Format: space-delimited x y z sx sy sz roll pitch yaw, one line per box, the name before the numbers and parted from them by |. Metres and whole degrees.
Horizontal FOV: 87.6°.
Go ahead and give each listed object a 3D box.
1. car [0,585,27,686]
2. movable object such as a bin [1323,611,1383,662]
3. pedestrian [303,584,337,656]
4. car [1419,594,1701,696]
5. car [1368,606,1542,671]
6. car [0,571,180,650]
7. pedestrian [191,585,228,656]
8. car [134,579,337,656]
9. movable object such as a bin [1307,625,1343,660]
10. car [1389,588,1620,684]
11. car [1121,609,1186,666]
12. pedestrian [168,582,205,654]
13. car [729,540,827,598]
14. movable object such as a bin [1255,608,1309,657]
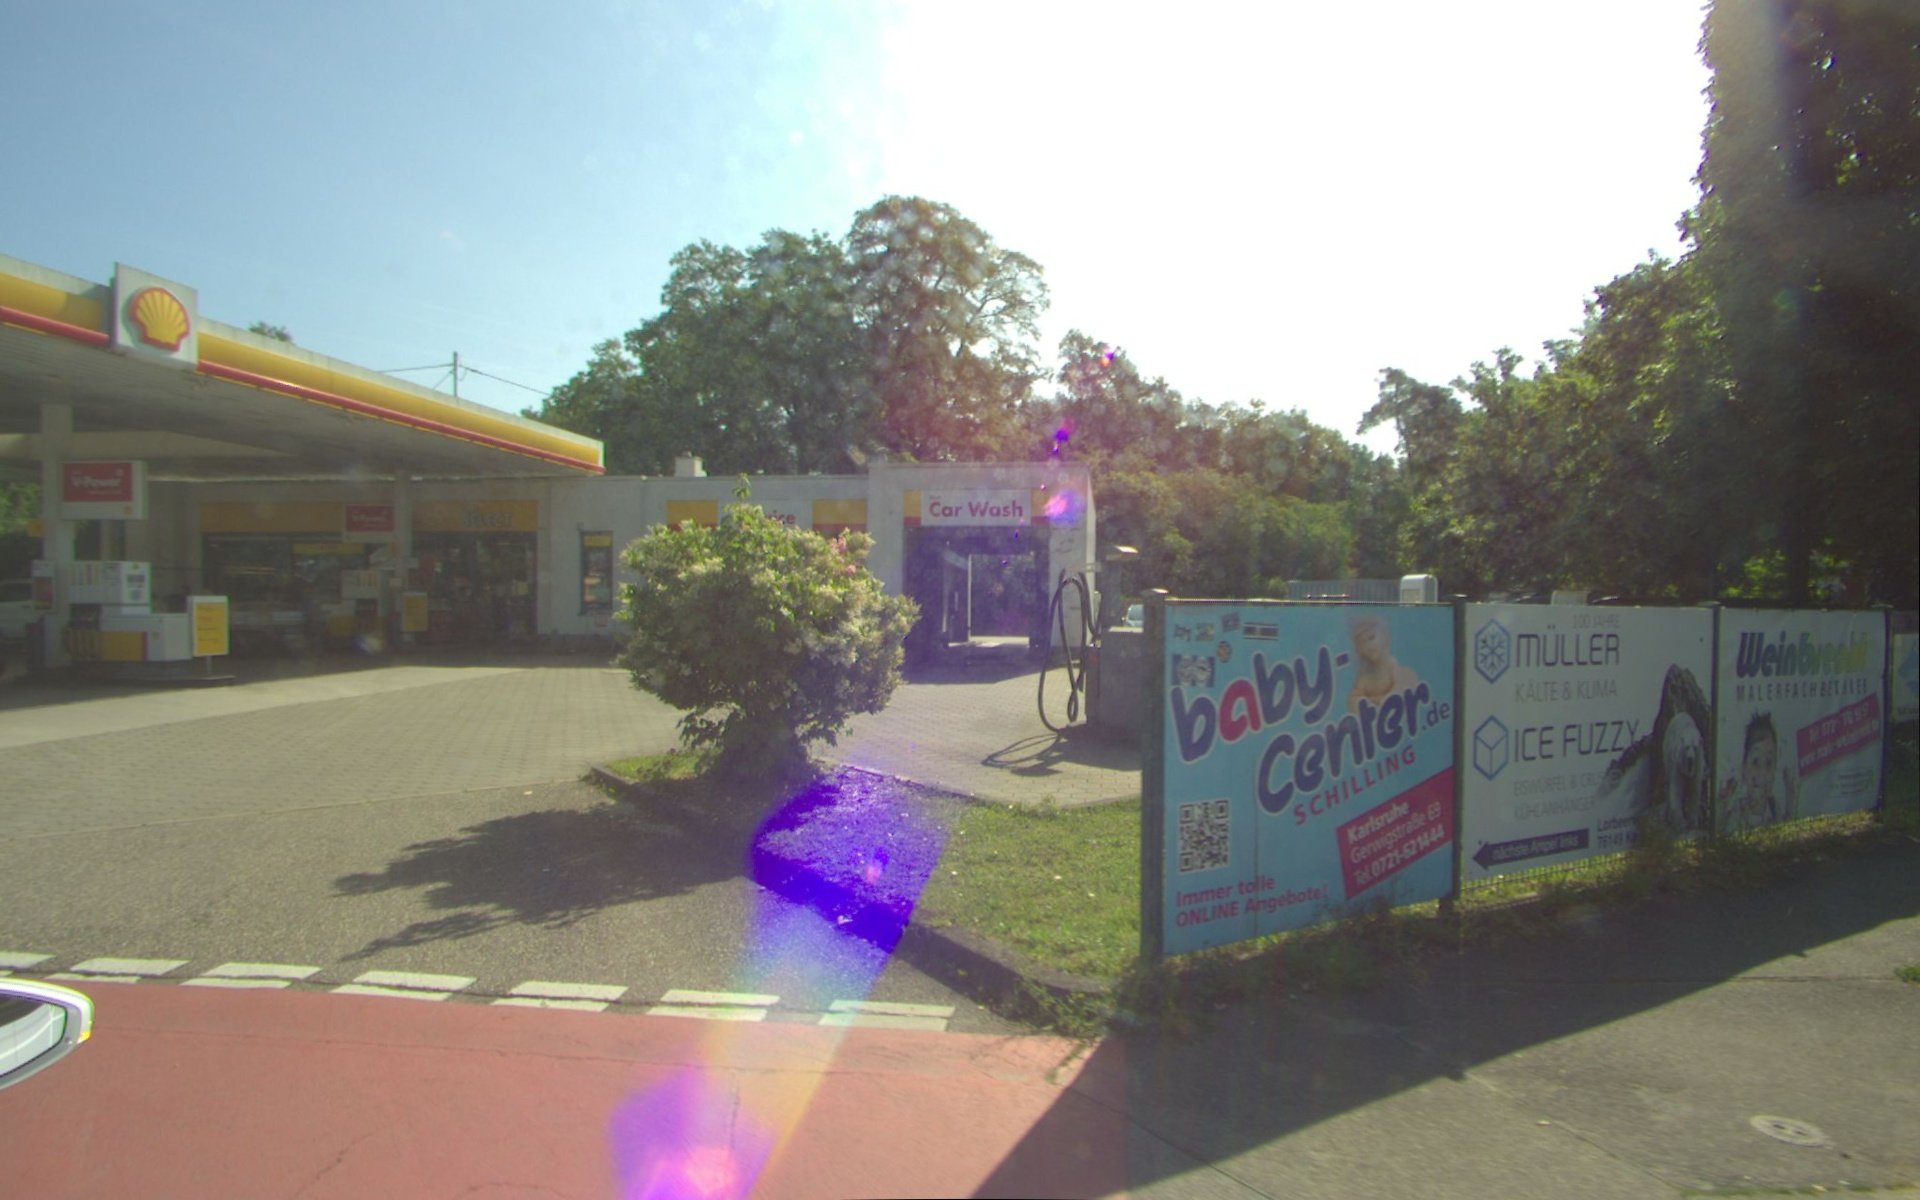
car | -17.111 0.546 15.581 3.803 1.599 1.764 1 0 7
movable object such as a bin | 10.529 0.967 26.832 0.853 1.307 1.229 0 1 -29
pedestrian | -15.352 0.474 24.016 0.491 1.691 0.475 1 1 10
car | 10.354 0.746 17.539 3.863 1.650 1.683 1 0 7
car | 12.029 0.900 24.538 3.443 1.458 1.682 0 2 10
car | -22.449 0.245 25.058 4.688 1.862 1.856 1 0 8
pedestrian | -17.209 0.471 22.975 0.467 1.614 0.500 1 1 13
car | -17.459 0.406 24.190 3.925 1.751 1.832 0 0 13
movable object such as a bin | 10.073 1.165 27.645 0.854 0.922 0.491 0 1 -30
car | 11.304 0.743 21.013 3.864 1.817 1.683 -2 0 7
car | 5.730 1.102 29.983 1.693 1.595 3.393 0 -2 7
pedestrian | -17.978 0.420 23.276 0.467 1.653 0.500 1 1 13
car | -5.479 -0.878 30.594 1.620 1.505 4.000 0 -2 11
movable object such as a bin | 9.221 0.907 28.706 0.839 1.343 1.225 0 1 -38
